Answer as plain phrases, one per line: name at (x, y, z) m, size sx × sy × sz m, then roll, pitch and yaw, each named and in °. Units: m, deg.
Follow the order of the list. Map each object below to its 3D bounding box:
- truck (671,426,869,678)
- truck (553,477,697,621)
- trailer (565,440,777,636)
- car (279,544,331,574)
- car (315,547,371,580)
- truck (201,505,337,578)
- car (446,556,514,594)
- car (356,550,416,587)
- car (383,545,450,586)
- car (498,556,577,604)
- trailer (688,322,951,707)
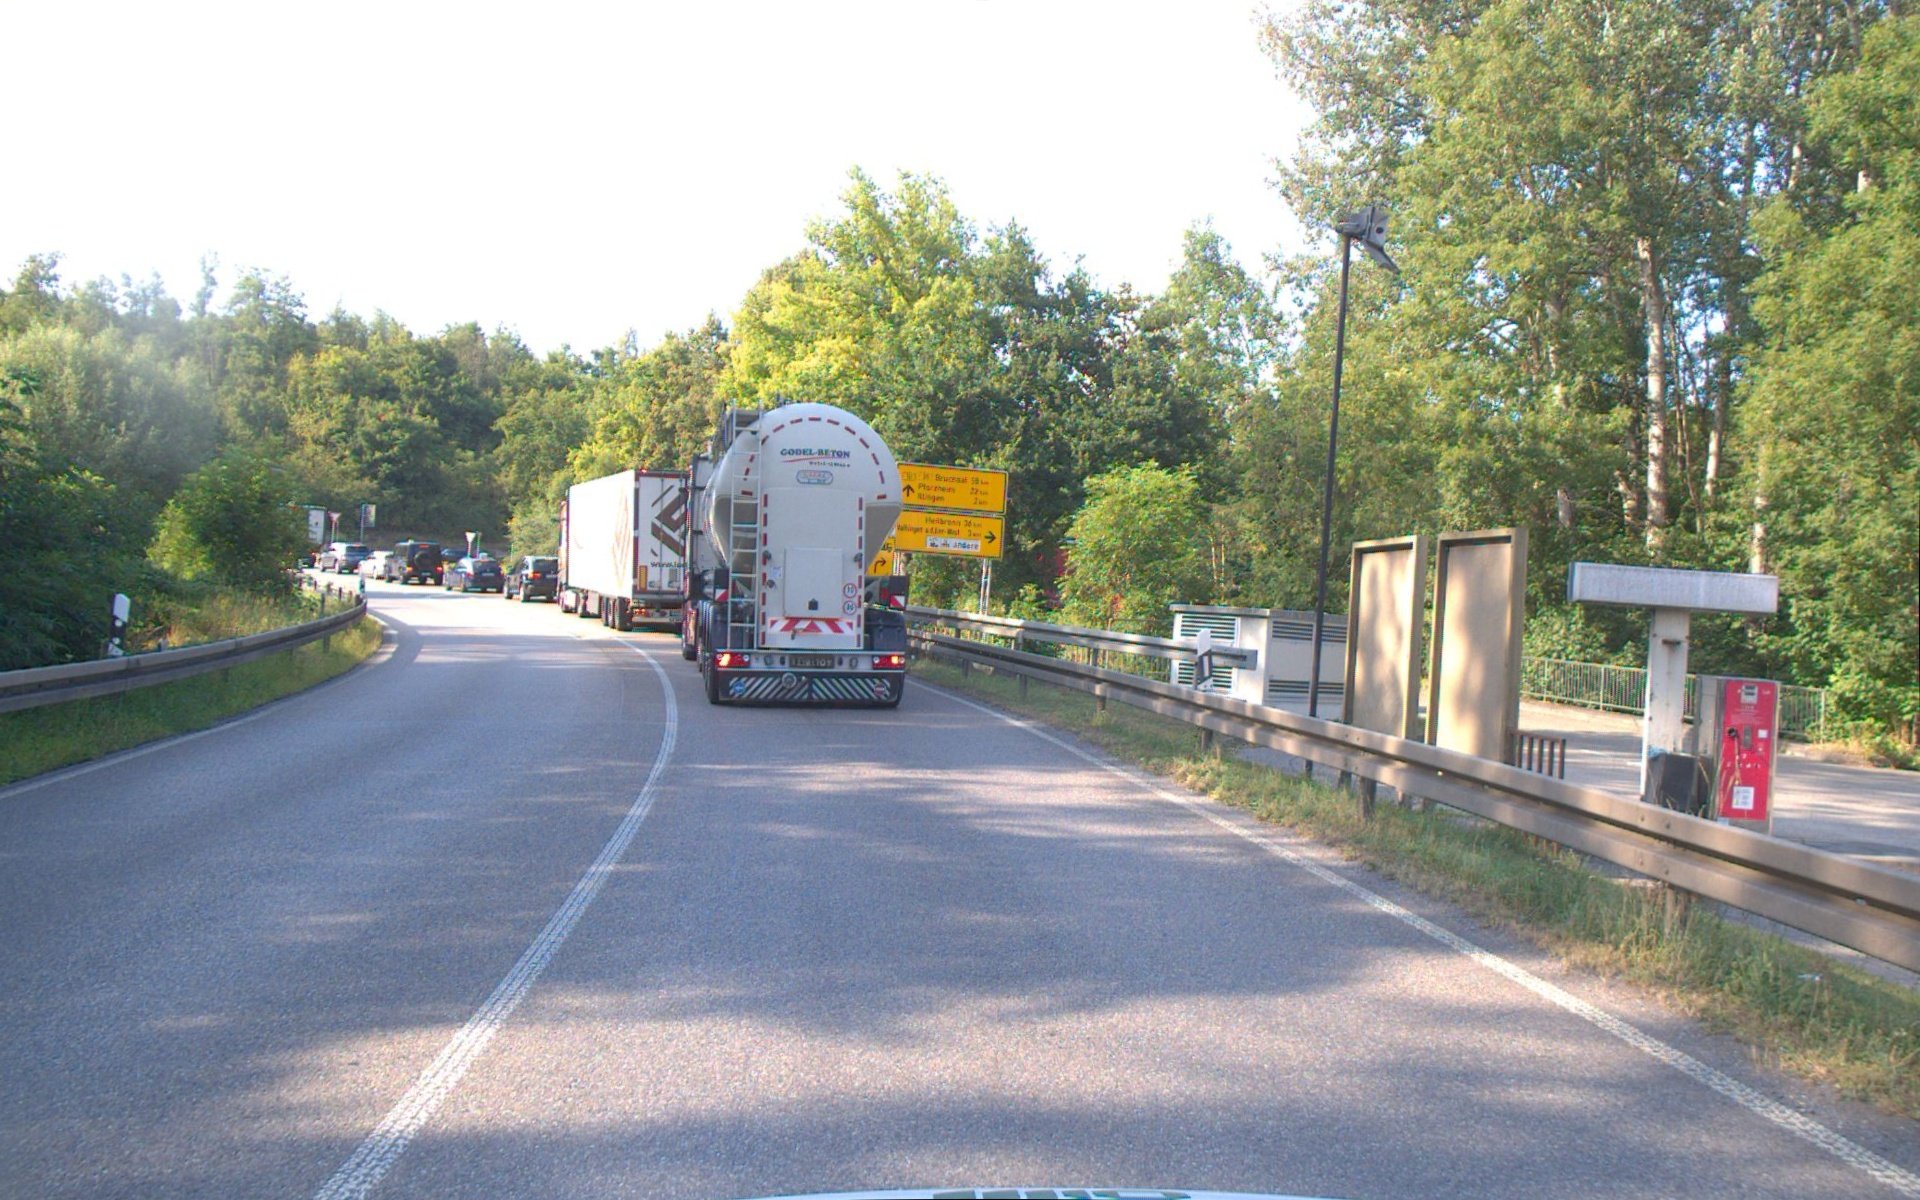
truck at (-3.717, -0.837, 31.050) m, size 2.776 × 4.105 × 5.874 m, roll 4°, pitch 0°, yaw -14°
truck at (-10.815, -1.568, 52.900) m, size 3.400 × 4.157 × 6.452 m, roll 3°, pitch 0°, yaw -20°
trailer at (-8.476, -1.590, 46.458) m, size 3.494 × 4.591 × 12.908 m, roll 3°, pitch 0°, yaw -20°
car at (-39.054, -2.427, 98.558) m, size 1.854 × 1.592 × 3.948 m, roll 4°, pitch 0°, yaw -37°
car at (-34.132, -2.015, 91.423) m, size 1.853 × 1.622 × 3.950 m, roll 4°, pitch 0°, yaw -36°
truck at (-50.406, -4.176, 121.136) m, size 2.950 × 4.664 × 10.244 m, roll 3°, pitch 0°, yaw 18°
car at (-20.911, -1.104, 71.952) m, size 1.849 × 1.592 × 3.957 m, roll 0°, pitch 2°, yaw -32°
car at (-29.901, -1.632, 86.104) m, size 1.853 × 1.712 × 3.950 m, roll 4°, pitch 0°, yaw -36°
car at (-26.174, -1.661, 79.577) m, size 1.941 × 1.883 × 3.949 m, roll 0°, pitch 2°, yaw -36°
car at (-16.222, -0.778, 63.383) m, size 1.848 × 1.656 × 3.960 m, roll 3°, pitch 0°, yaw -30°
trailer at (-2.479, -1.079, 25.067) m, size 2.835 × 4.531 × 9.582 m, roll 4°, pitch 0°, yaw -10°
